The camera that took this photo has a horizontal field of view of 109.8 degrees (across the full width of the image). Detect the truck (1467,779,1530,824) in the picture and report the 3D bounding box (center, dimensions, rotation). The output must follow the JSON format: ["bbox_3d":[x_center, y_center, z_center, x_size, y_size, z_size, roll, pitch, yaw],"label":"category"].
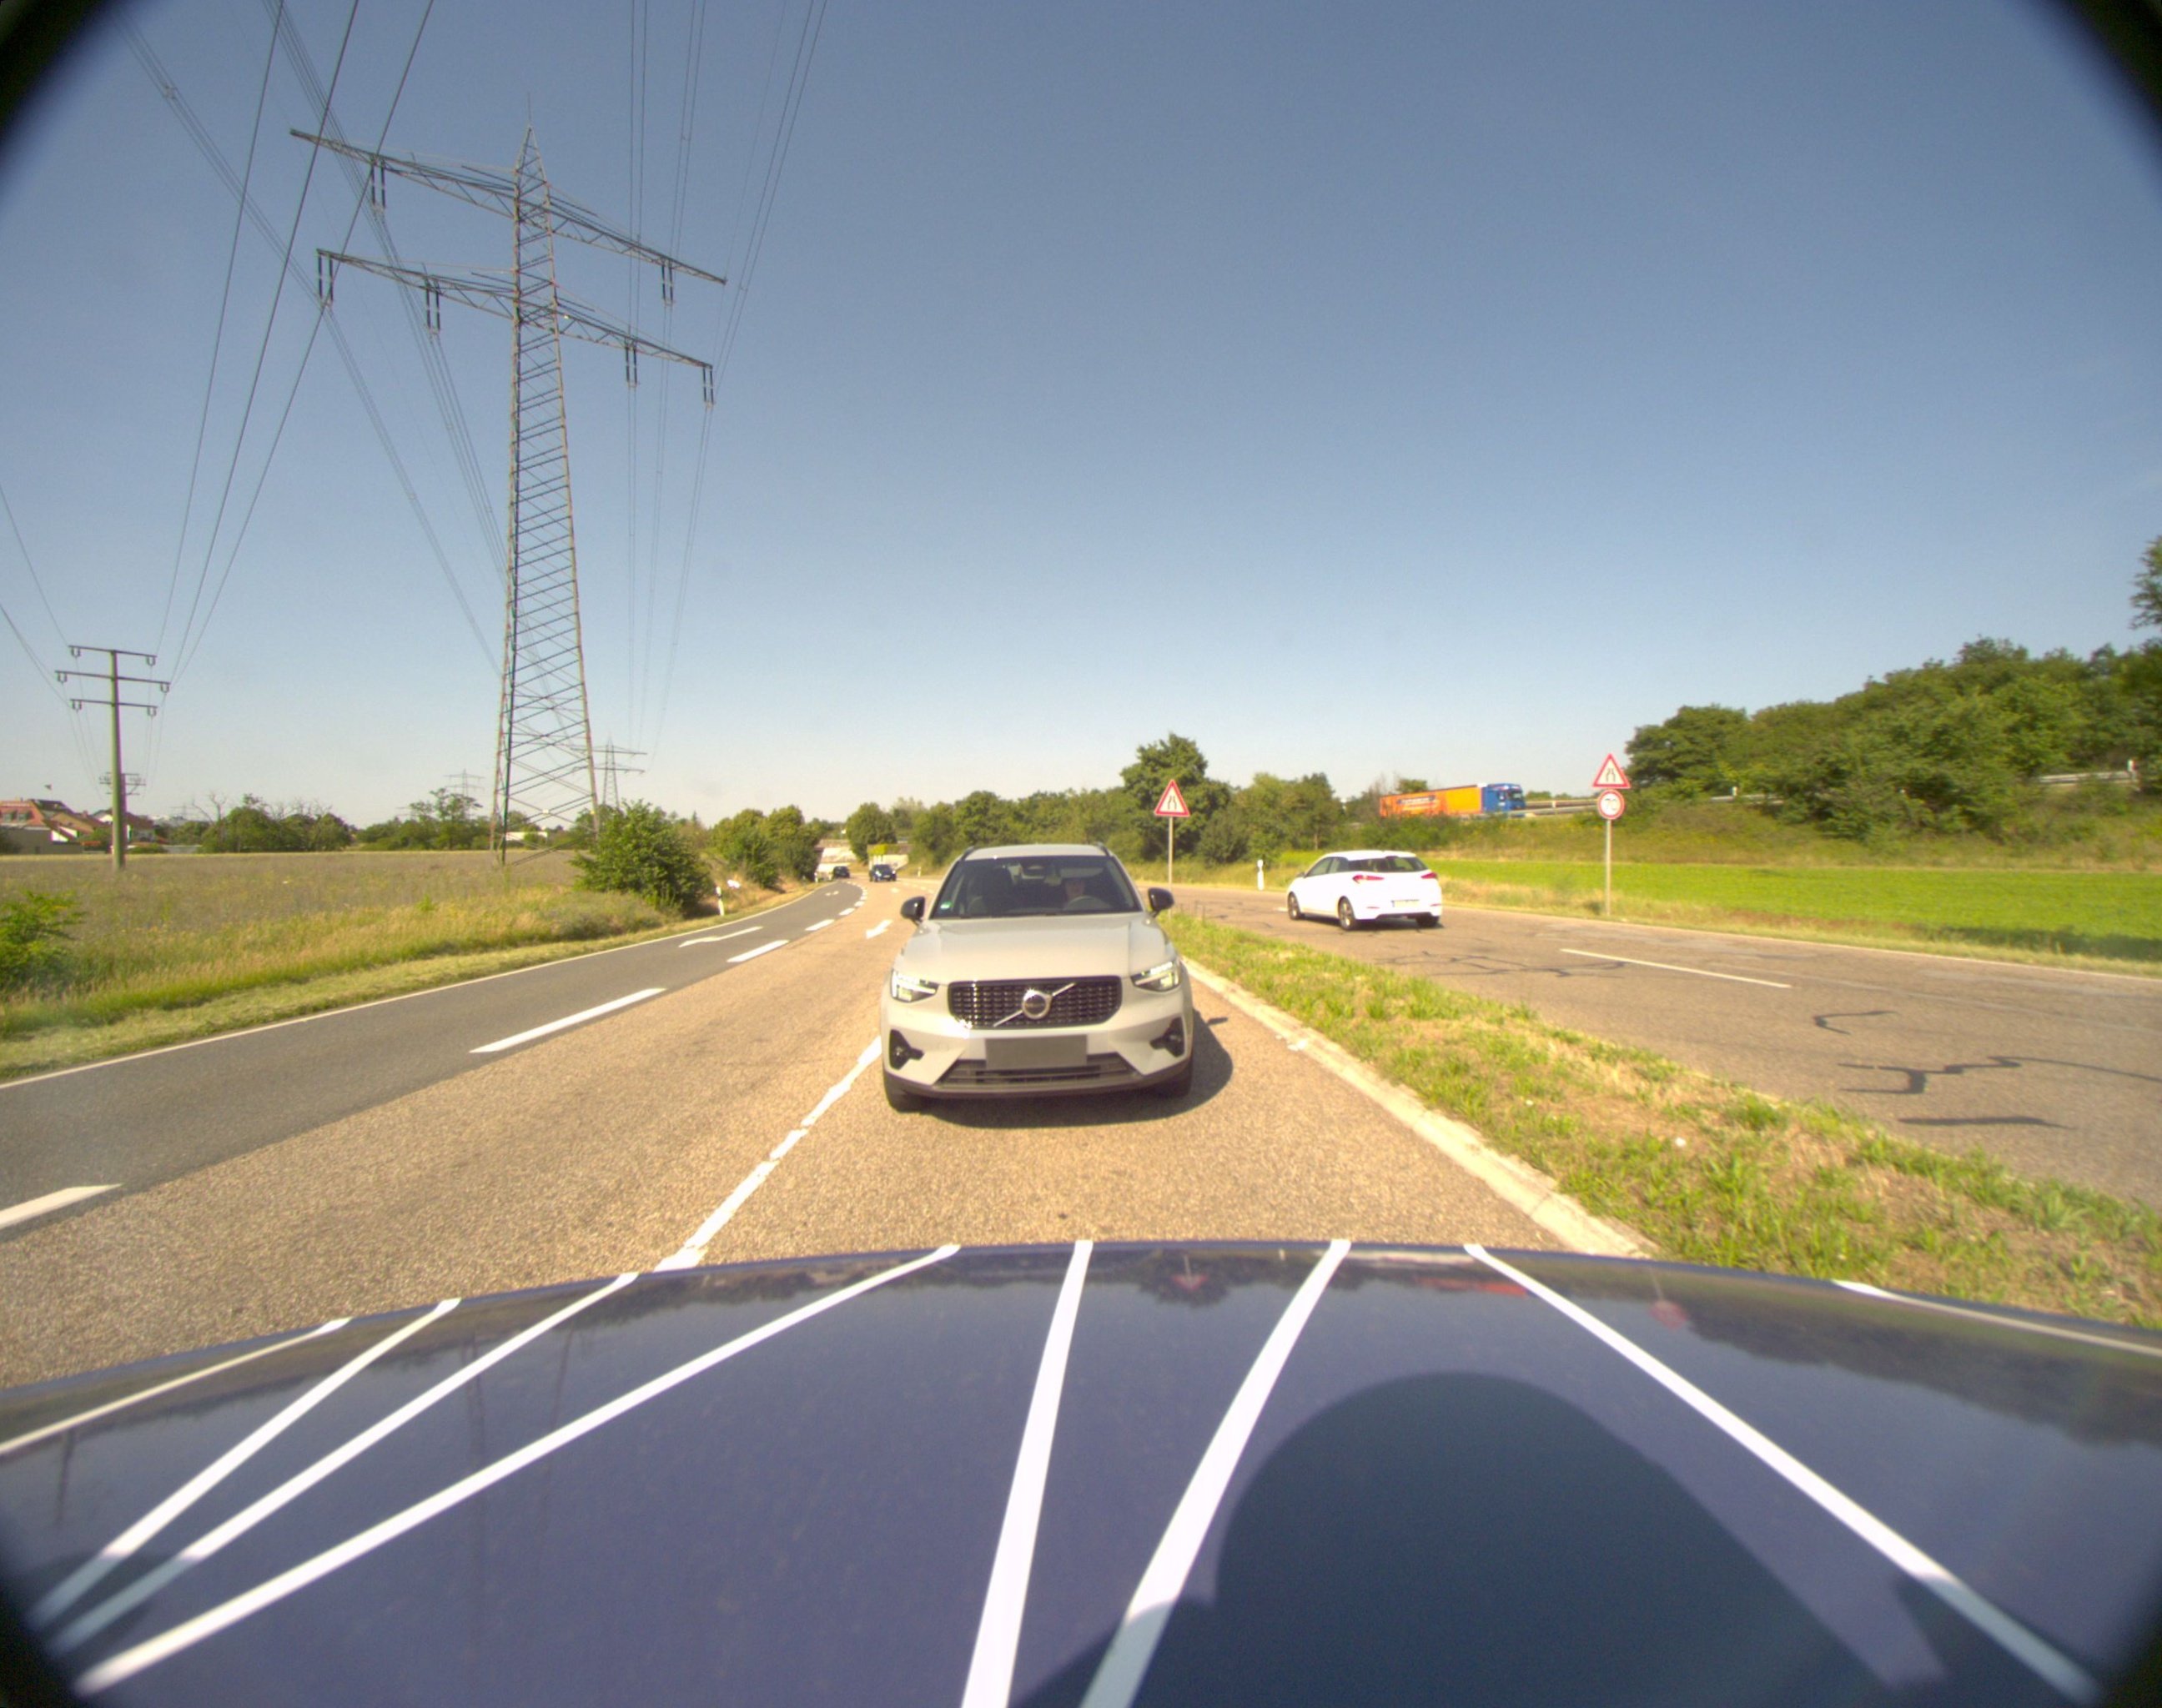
[{"bbox_3d":[40.546,-5.078,73.943,2.565,3.953,4.657,-3,1,-21],"label":"truck"}]

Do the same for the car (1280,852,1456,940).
[{"bbox_3d":[5.553,0.728,15.256,1.723,1.456,3.910,-1,1,-6],"label":"car"}]

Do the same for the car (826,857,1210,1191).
[{"bbox_3d":[-0.290,0.855,5.606,1.859,1.609,3.647,-2,0,1],"label":"car"}]

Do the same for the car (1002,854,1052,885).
[{"bbox_3d":[-3.705,0.995,51.021,2.002,1.907,4.940,-2,0,-20],"label":"car"}]

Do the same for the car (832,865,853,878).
[{"bbox_3d":[-29.337,2.139,93.398,1.901,1.344,3.527,-3,1,-27],"label":"car"}]

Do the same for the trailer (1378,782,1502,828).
[{"bbox_3d":[37.802,-5.040,81.006,2.580,3.936,13.847,-3,1,-22],"label":"trailer"}]

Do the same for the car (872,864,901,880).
[{"bbox_3d":[-17.771,1.621,69.258,1.901,1.344,3.527,-3,1,-24],"label":"car"}]
